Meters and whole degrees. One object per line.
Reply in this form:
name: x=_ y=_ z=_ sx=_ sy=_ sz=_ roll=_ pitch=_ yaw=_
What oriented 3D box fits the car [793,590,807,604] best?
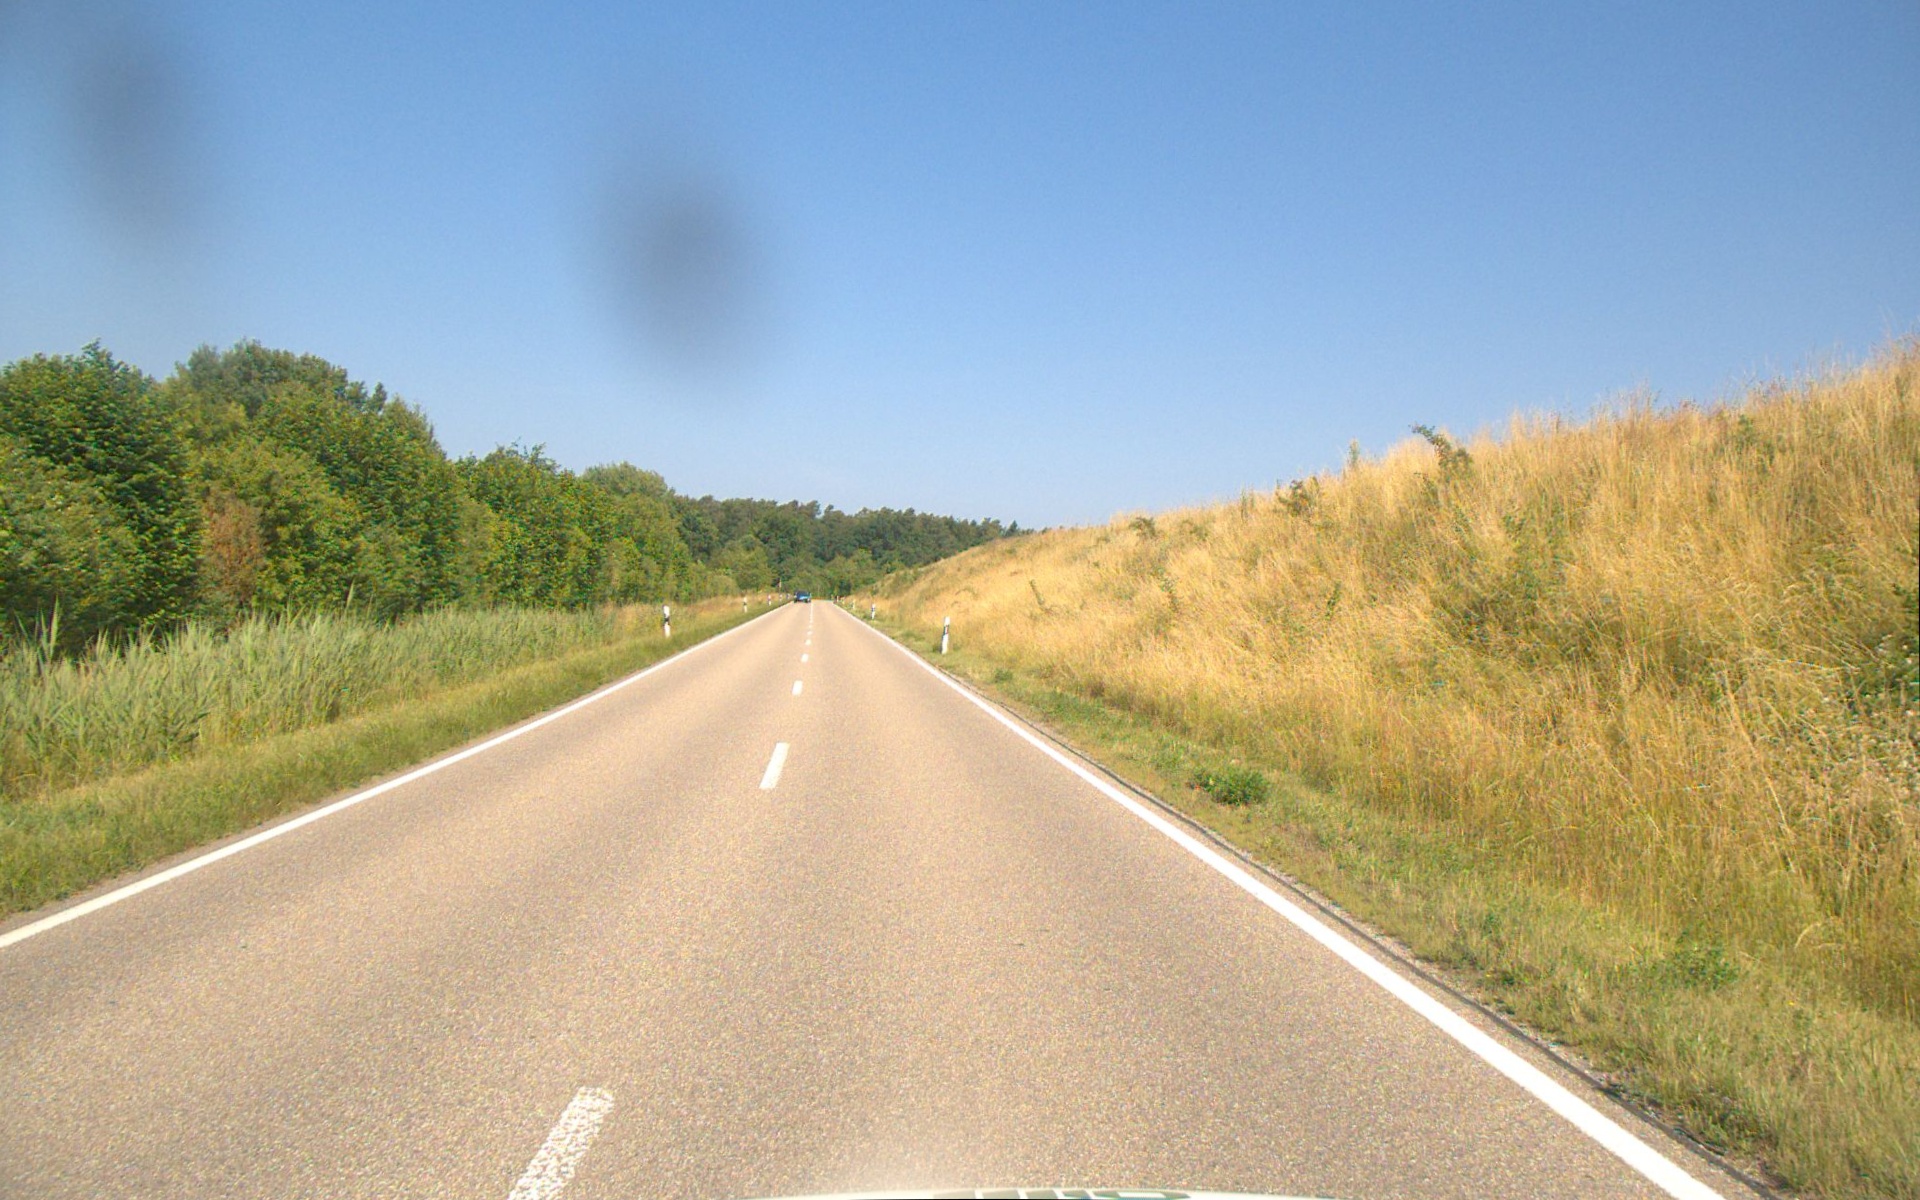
car: x=-20.919 y=-0.391 z=216.199 sx=1.683 sy=1.675 sz=3.910 roll=2 pitch=0 yaw=-6

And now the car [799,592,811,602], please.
car: x=-22.753 y=-0.434 z=242.546 sx=1.689 sy=1.377 sz=3.995 roll=3 pitch=-1 yaw=-5
